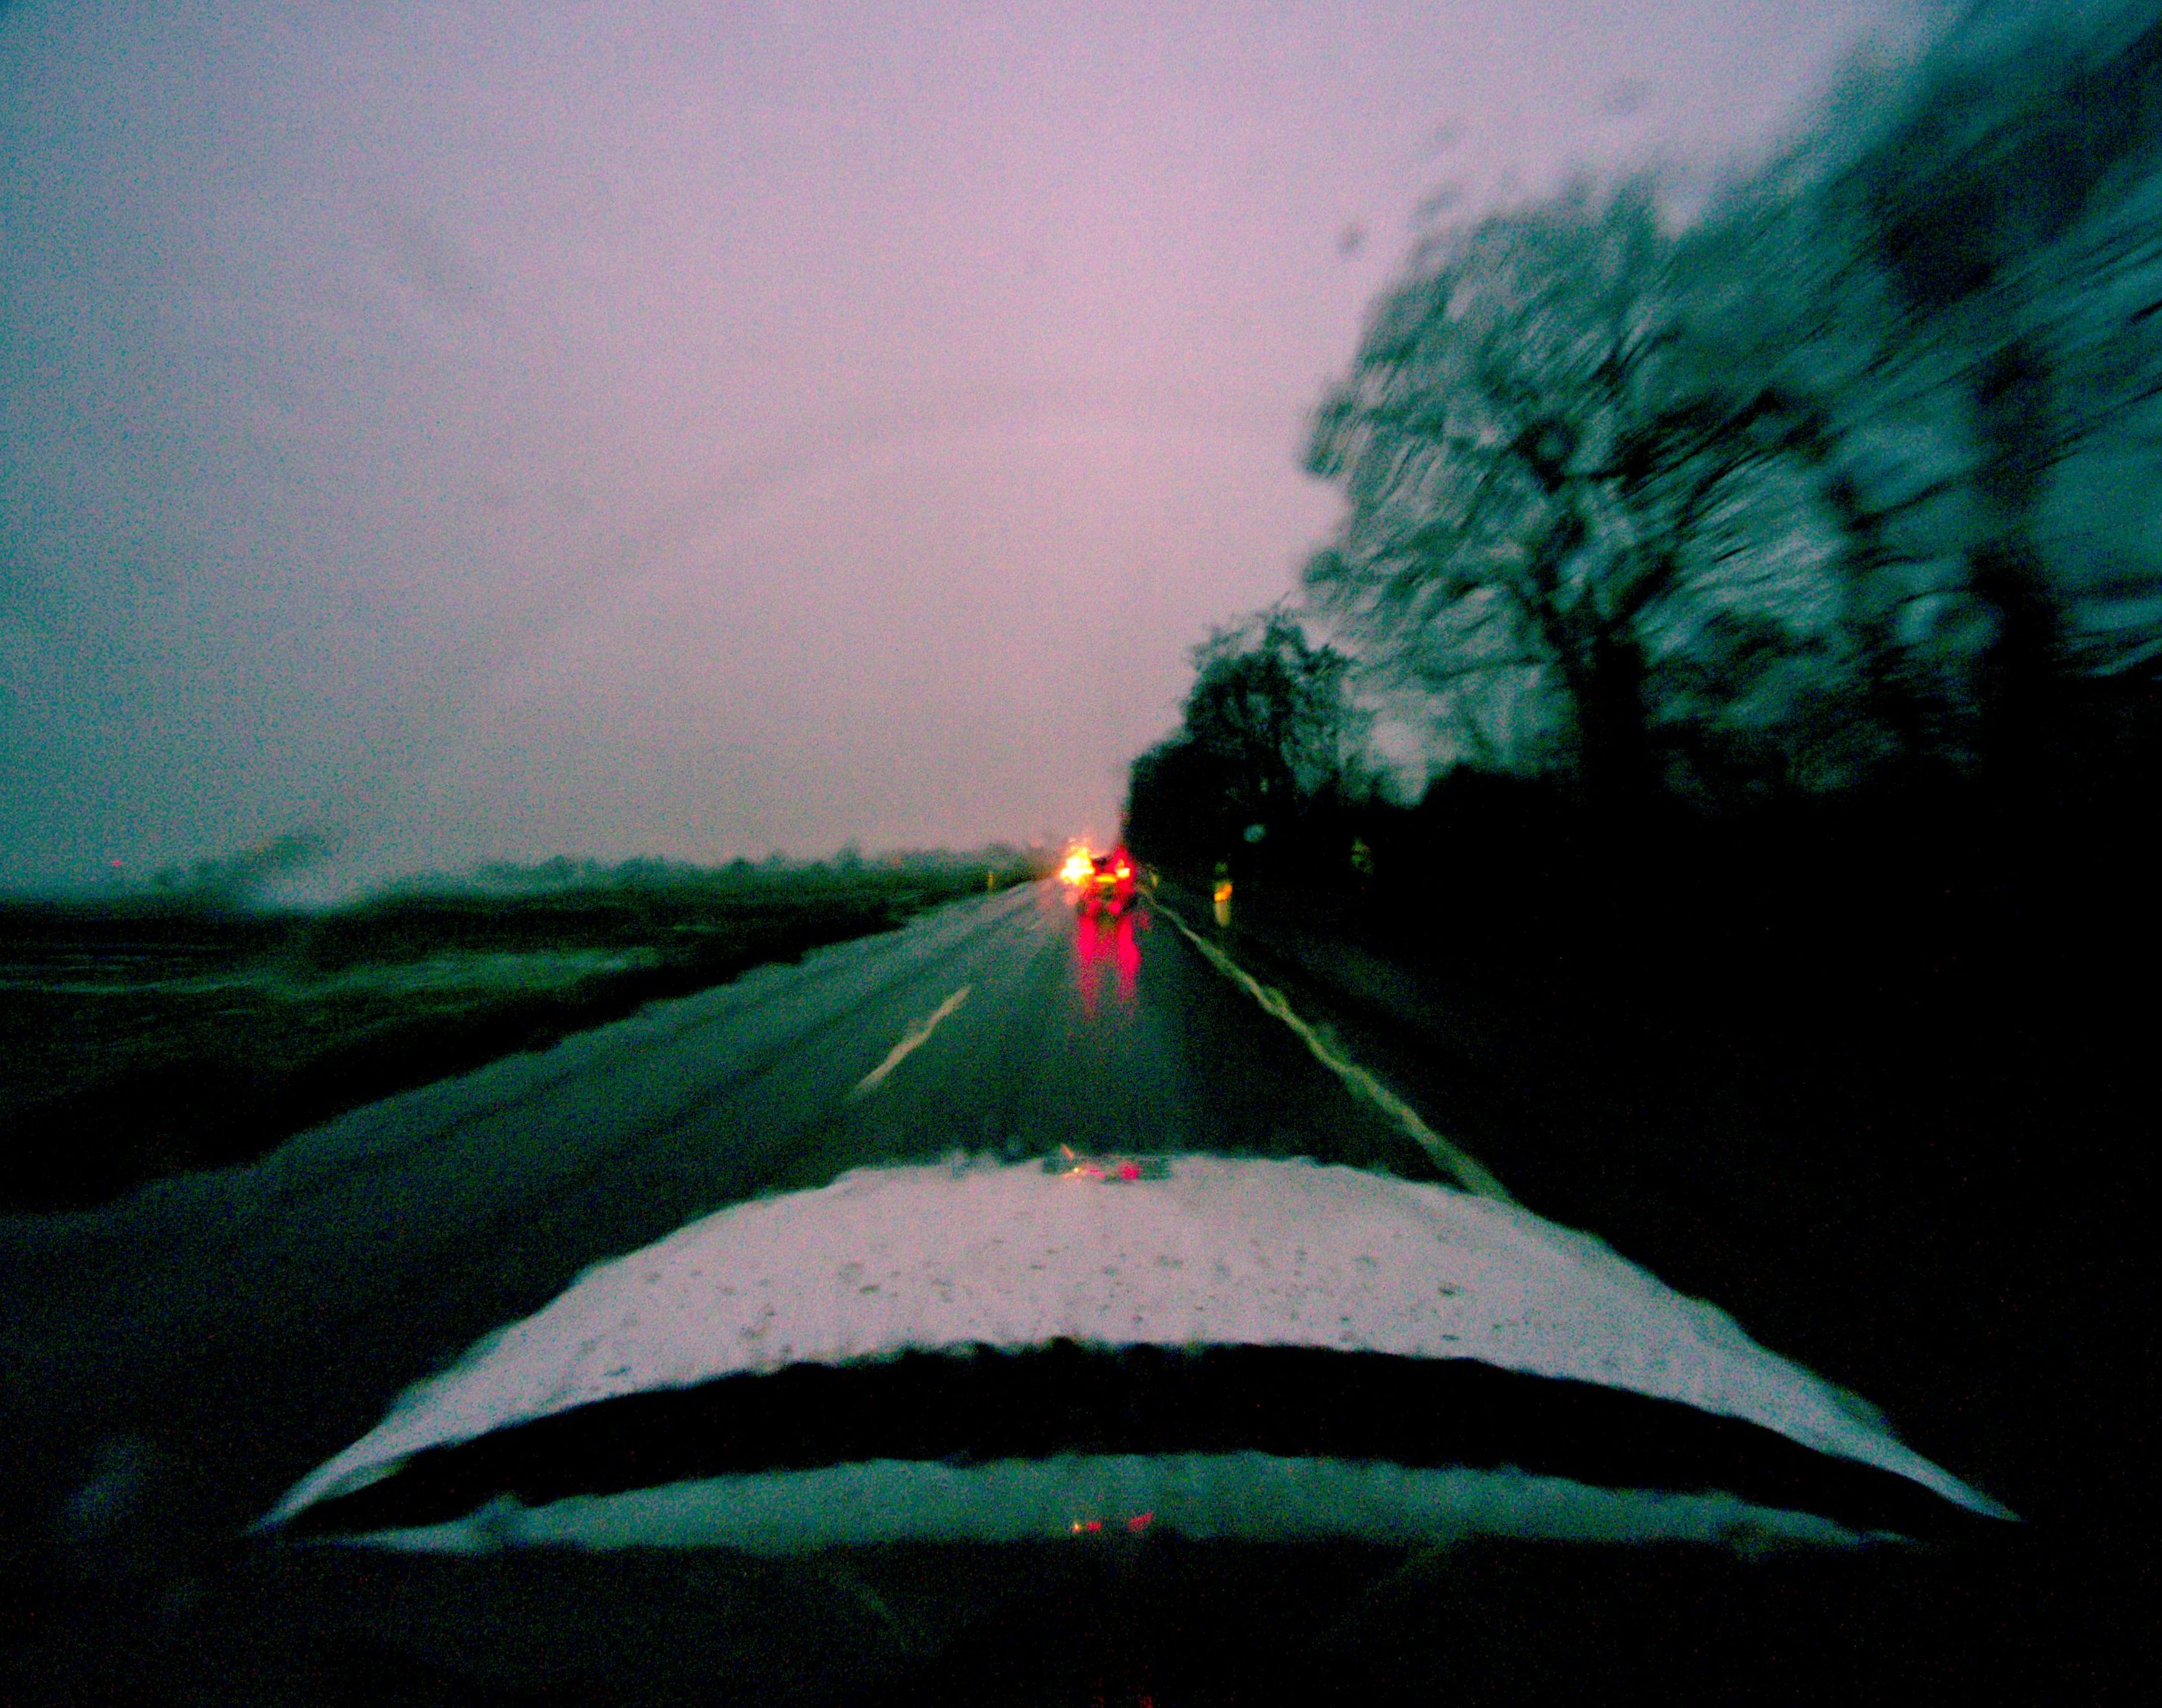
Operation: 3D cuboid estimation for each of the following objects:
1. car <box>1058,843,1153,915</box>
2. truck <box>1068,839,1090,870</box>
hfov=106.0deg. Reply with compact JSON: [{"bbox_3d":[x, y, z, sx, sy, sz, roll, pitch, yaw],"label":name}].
[{"bbox_3d":[0.840,0.767,27.047,2.809,2.077,5.807,-1,-1,2],"label":"car"},{"bbox_3d":[-0.278,0.038,115.422,2.715,4.105,6.589,-3,0,1],"label":"truck"}]
